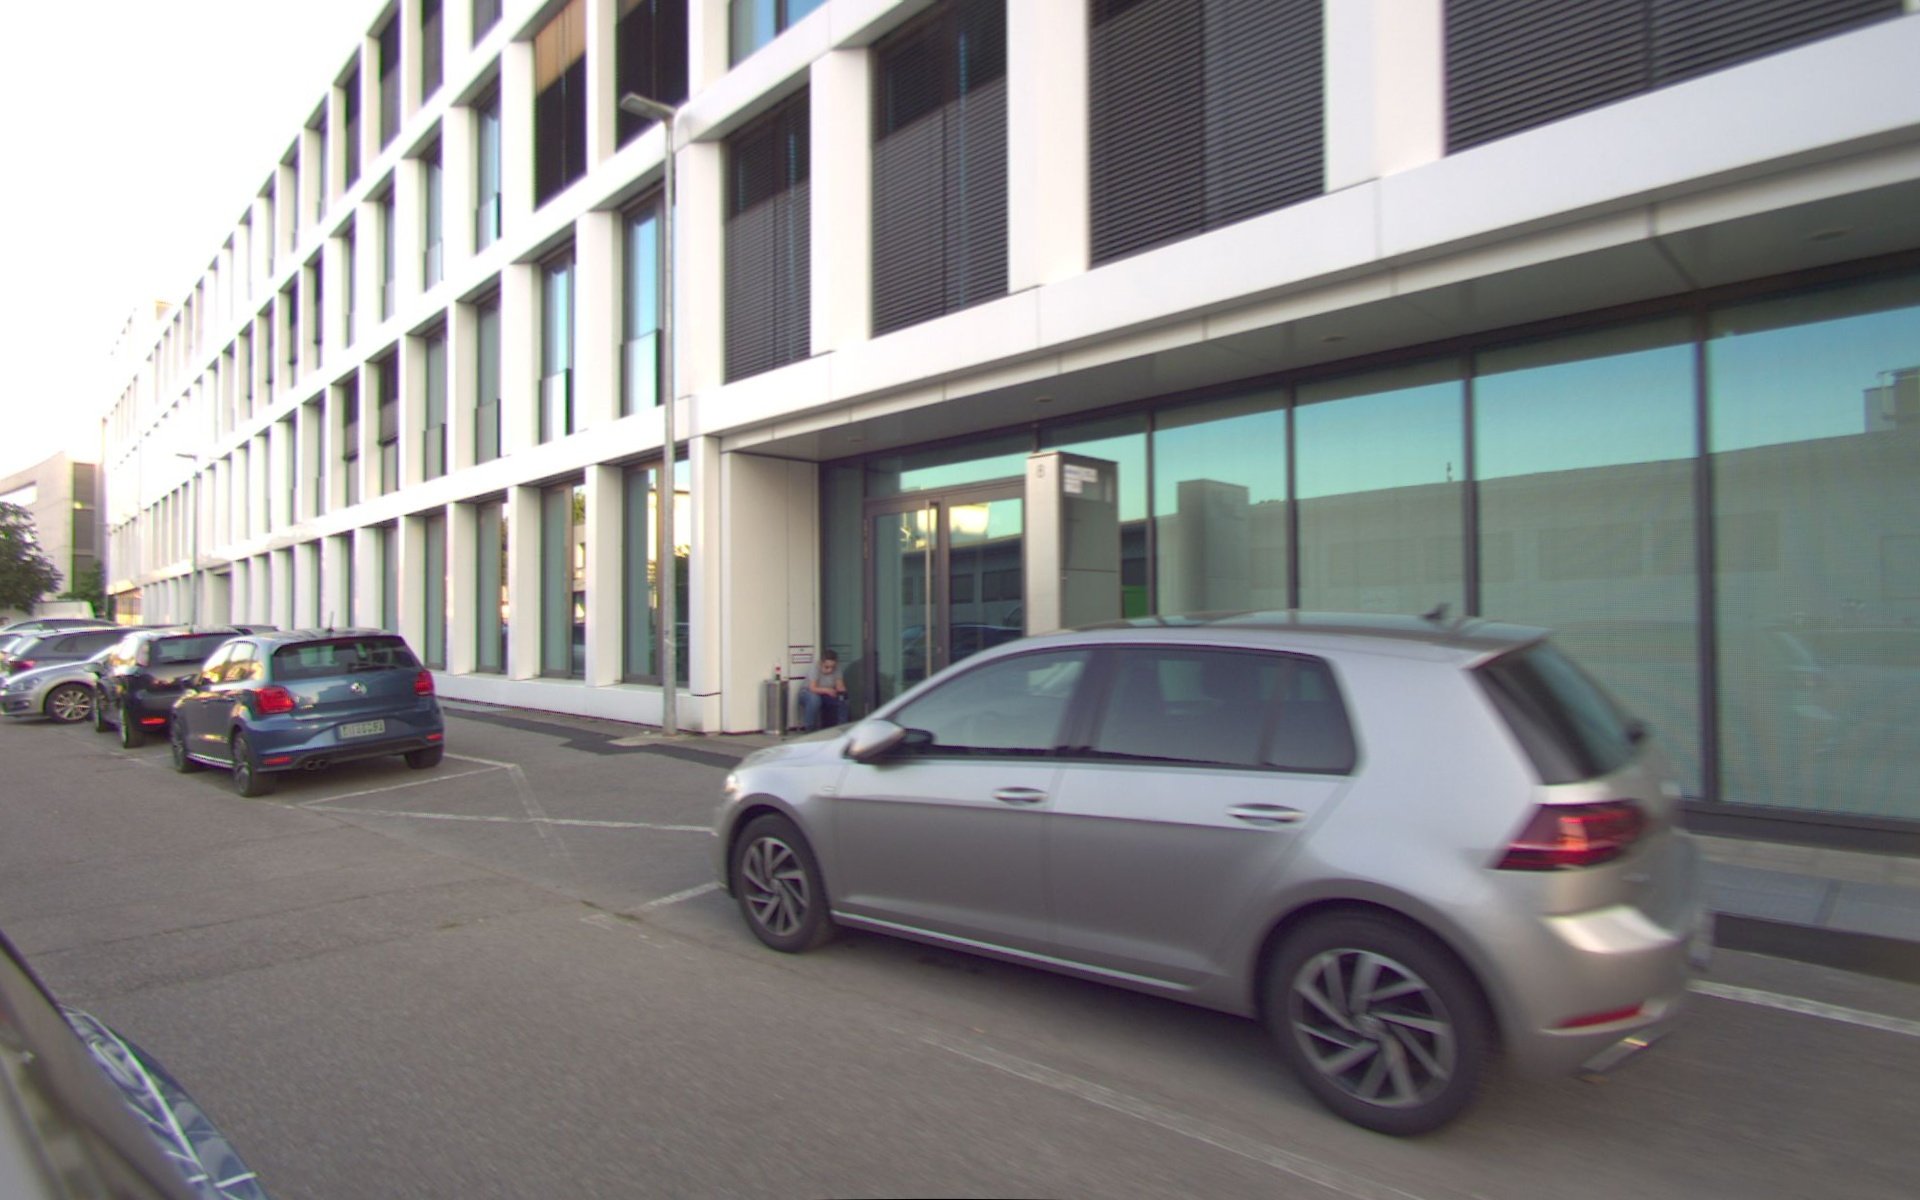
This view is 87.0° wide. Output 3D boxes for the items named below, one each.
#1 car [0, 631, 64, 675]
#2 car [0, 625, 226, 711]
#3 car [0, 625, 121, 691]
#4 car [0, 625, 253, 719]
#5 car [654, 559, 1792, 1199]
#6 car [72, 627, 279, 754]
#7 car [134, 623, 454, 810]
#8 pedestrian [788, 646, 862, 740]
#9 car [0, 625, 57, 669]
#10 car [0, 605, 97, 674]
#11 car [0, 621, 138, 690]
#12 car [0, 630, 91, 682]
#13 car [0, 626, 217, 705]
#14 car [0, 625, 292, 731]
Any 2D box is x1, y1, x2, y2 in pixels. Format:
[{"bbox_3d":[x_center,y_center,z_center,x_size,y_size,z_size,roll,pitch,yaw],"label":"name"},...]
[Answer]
[{"bbox_3d":[-35.158,1.961,36.832,1.708,1.507,3.667,-3,-2,43],"label":"car"},{"bbox_3d":[-17.420,1.341,20.742,1.688,1.523,3.614,-3,-2,44],"label":"car"},{"bbox_3d":[-23.417,1.461,25.348,3.623,1.523,1.698,-1,-2,-43],"label":"car"},{"bbox_3d":[-15.813,1.291,19.270,1.688,1.523,3.614,-3,-2,44],"label":"car"},{"bbox_3d":[0.707,0.706,4.206,4.180,1.490,1.693,-2,1,39],"label":"car"},{"bbox_3d":[-11.282,1.188,14.450,4.202,1.449,1.630,-2,1,43],"label":"car"},{"bbox_3d":[-6.952,1.040,10.384,4.182,1.449,1.631,-2,1,41],"label":"car"},{"bbox_3d":[-1.547,1.047,11.596,0.580,1.026,0.630,1,-2,-42],"label":"pedestrian"},{"bbox_3d":[-42.059,2.079,43.896,1.814,1.831,4.067,-3,-2,39],"label":"car"},{"bbox_3d":[-38.099,1.586,40.474,2.079,2.653,5.320,-3,-2,44],"label":"car"},{"bbox_3d":[-25.153,1.497,27.266,4.564,1.719,2.006,-1,-2,-43],"label":"car"},{"bbox_3d":[-29.585,1.756,31.451,1.693,1.534,3.741,-3,-2,41],"label":"car"},{"bbox_3d":[-19.277,1.416,22.739,1.796,1.523,3.919,-3,-2,45],"label":"car"},{"bbox_3d":[-13.919,1.250,17.332,1.688,1.523,3.882,-3,-2,44],"label":"car"}]
